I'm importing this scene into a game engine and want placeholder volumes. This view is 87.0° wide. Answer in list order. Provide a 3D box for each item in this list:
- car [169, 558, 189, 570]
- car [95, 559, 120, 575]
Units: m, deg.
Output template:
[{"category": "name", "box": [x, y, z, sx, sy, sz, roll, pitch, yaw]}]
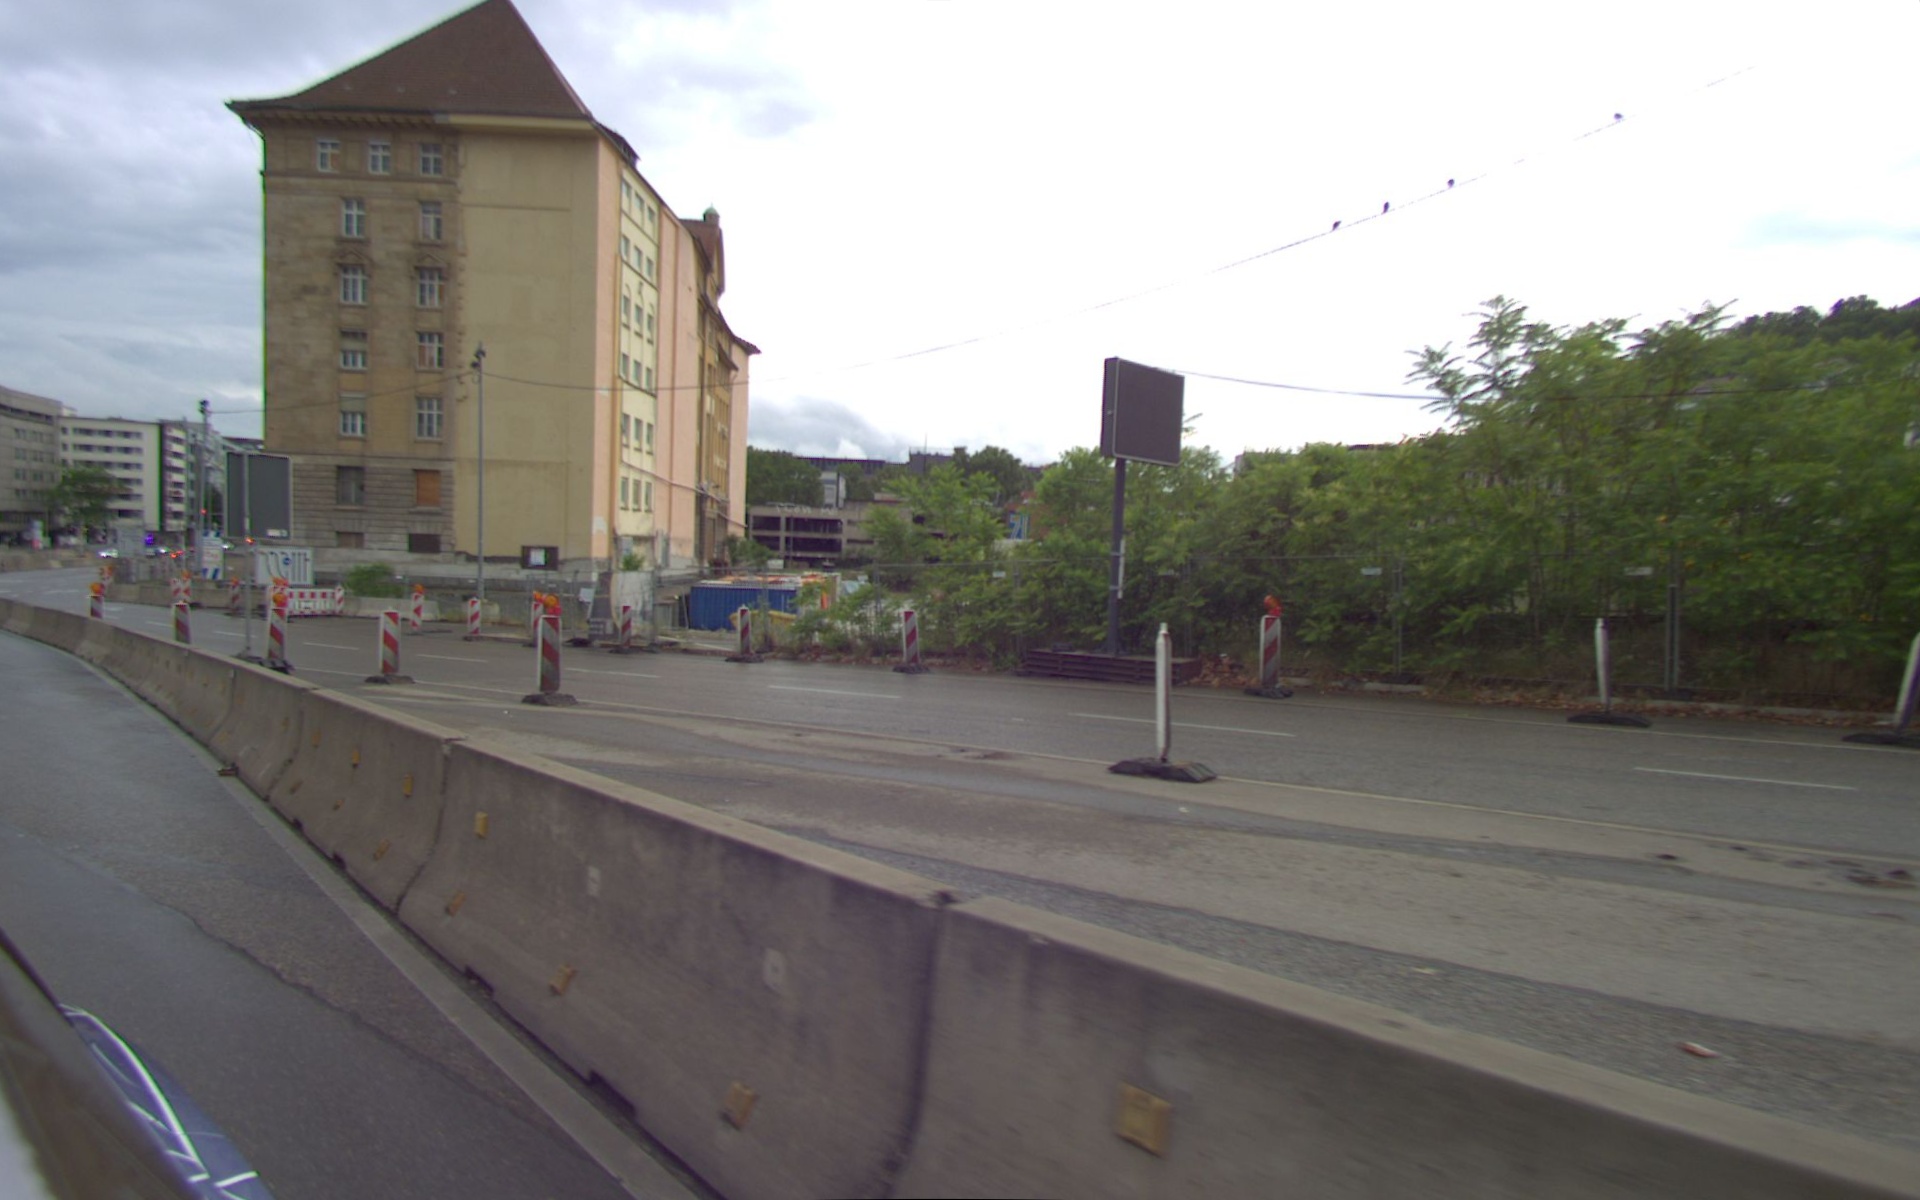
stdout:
[{"category": "car", "box": [-105.985, -4.947, 137.340, 1.742, 1.532, 4.400, 1, 2, -33]}, {"category": "car", "box": [-116.906, -4.551, 138.797, 1.966, 2.029, 4.012, 1, 0, -30]}]
